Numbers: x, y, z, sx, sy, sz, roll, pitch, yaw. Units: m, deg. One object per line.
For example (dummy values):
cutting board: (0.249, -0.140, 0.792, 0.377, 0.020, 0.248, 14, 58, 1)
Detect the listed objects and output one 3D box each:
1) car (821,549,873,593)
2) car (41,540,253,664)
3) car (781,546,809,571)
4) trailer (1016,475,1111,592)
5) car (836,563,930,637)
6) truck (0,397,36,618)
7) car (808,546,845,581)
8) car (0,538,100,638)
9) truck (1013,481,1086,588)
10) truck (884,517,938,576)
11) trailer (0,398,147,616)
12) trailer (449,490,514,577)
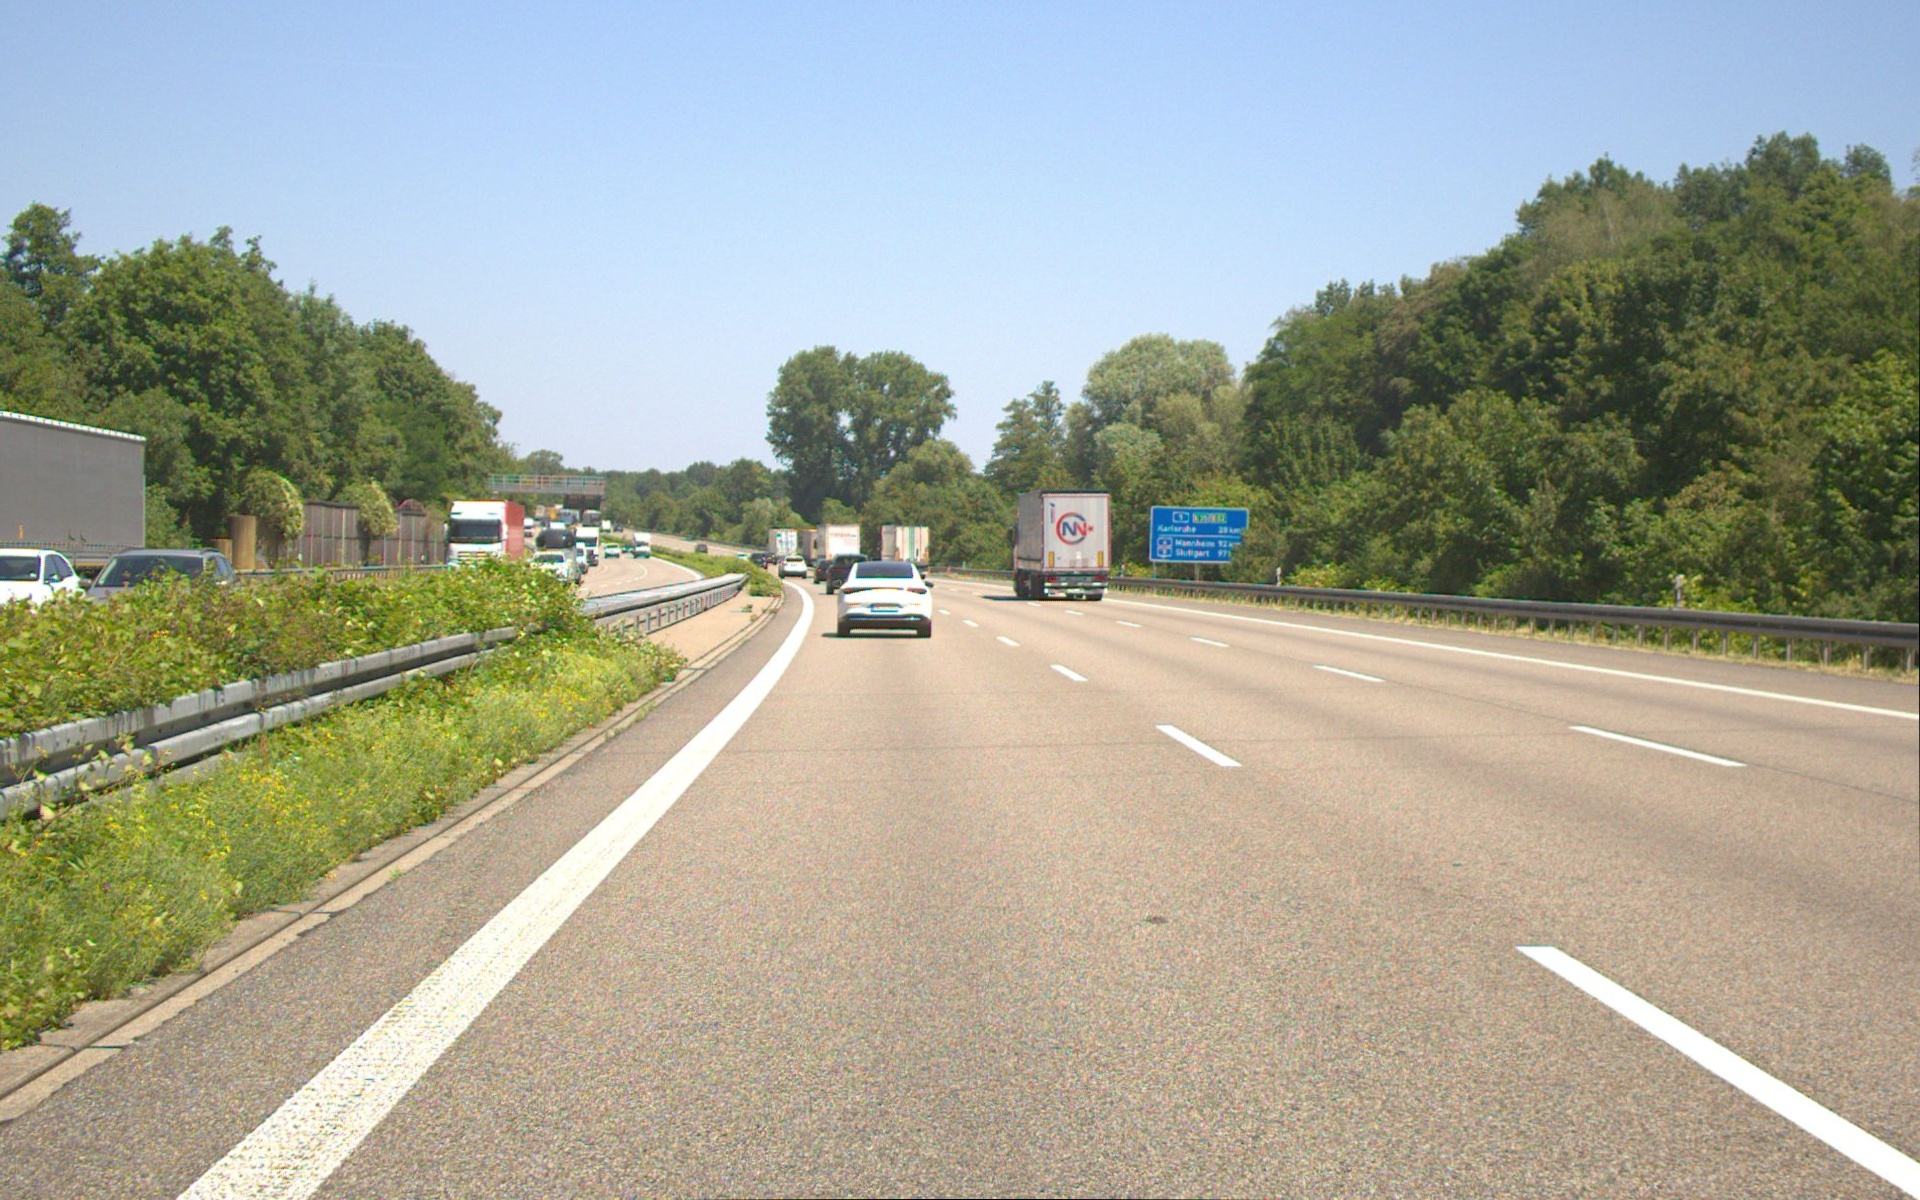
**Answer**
car: (-4.794, -1.247, 145.862, 1.993, 1.766, 4.001, 1, 1, -5)
car: (-10.011, -0.005, 42.610, 1.665, 1.449, 4.124, 1, 1, 0)
car: (-12.144, -3.047, 253.288, 1.723, 1.777, 4.001, 1, 1, -7)
trailer: (3.904, -2.526, 132.986, 2.624, 4.246, 14.062, 1, 1, -2)
car: (-1.472, -0.020, 66.853, 1.715, 1.365, 3.375, 1, 1, 1)
truck: (-18.609, -1.675, 61.597, 2.660, 3.971, 6.555, 1, 1, -3)
car: (-7.991, -2.180, 205.513, 1.993, 2.007, 4.001, 1, 1, -5)
car: (-14.390, -0.206, 52.155, 1.665, 1.449, 4.124, 1, 1, 0)
truck: (3.631, -2.660, 140.206, 2.605, 4.272, 5.436, 1, 1, -2)
truck: (-3.663, -3.984, 255.673, 3.492, 4.296, 10.990, 1, 1, -3)
trailer: (-18.976, -1.806, 69.150, 2.670, 3.952, 13.665, 1, 1, -3)
trailer: (-22.655, -3.142, 163.124, 2.688, 4.028, 6.038, 1, 1, -5)
